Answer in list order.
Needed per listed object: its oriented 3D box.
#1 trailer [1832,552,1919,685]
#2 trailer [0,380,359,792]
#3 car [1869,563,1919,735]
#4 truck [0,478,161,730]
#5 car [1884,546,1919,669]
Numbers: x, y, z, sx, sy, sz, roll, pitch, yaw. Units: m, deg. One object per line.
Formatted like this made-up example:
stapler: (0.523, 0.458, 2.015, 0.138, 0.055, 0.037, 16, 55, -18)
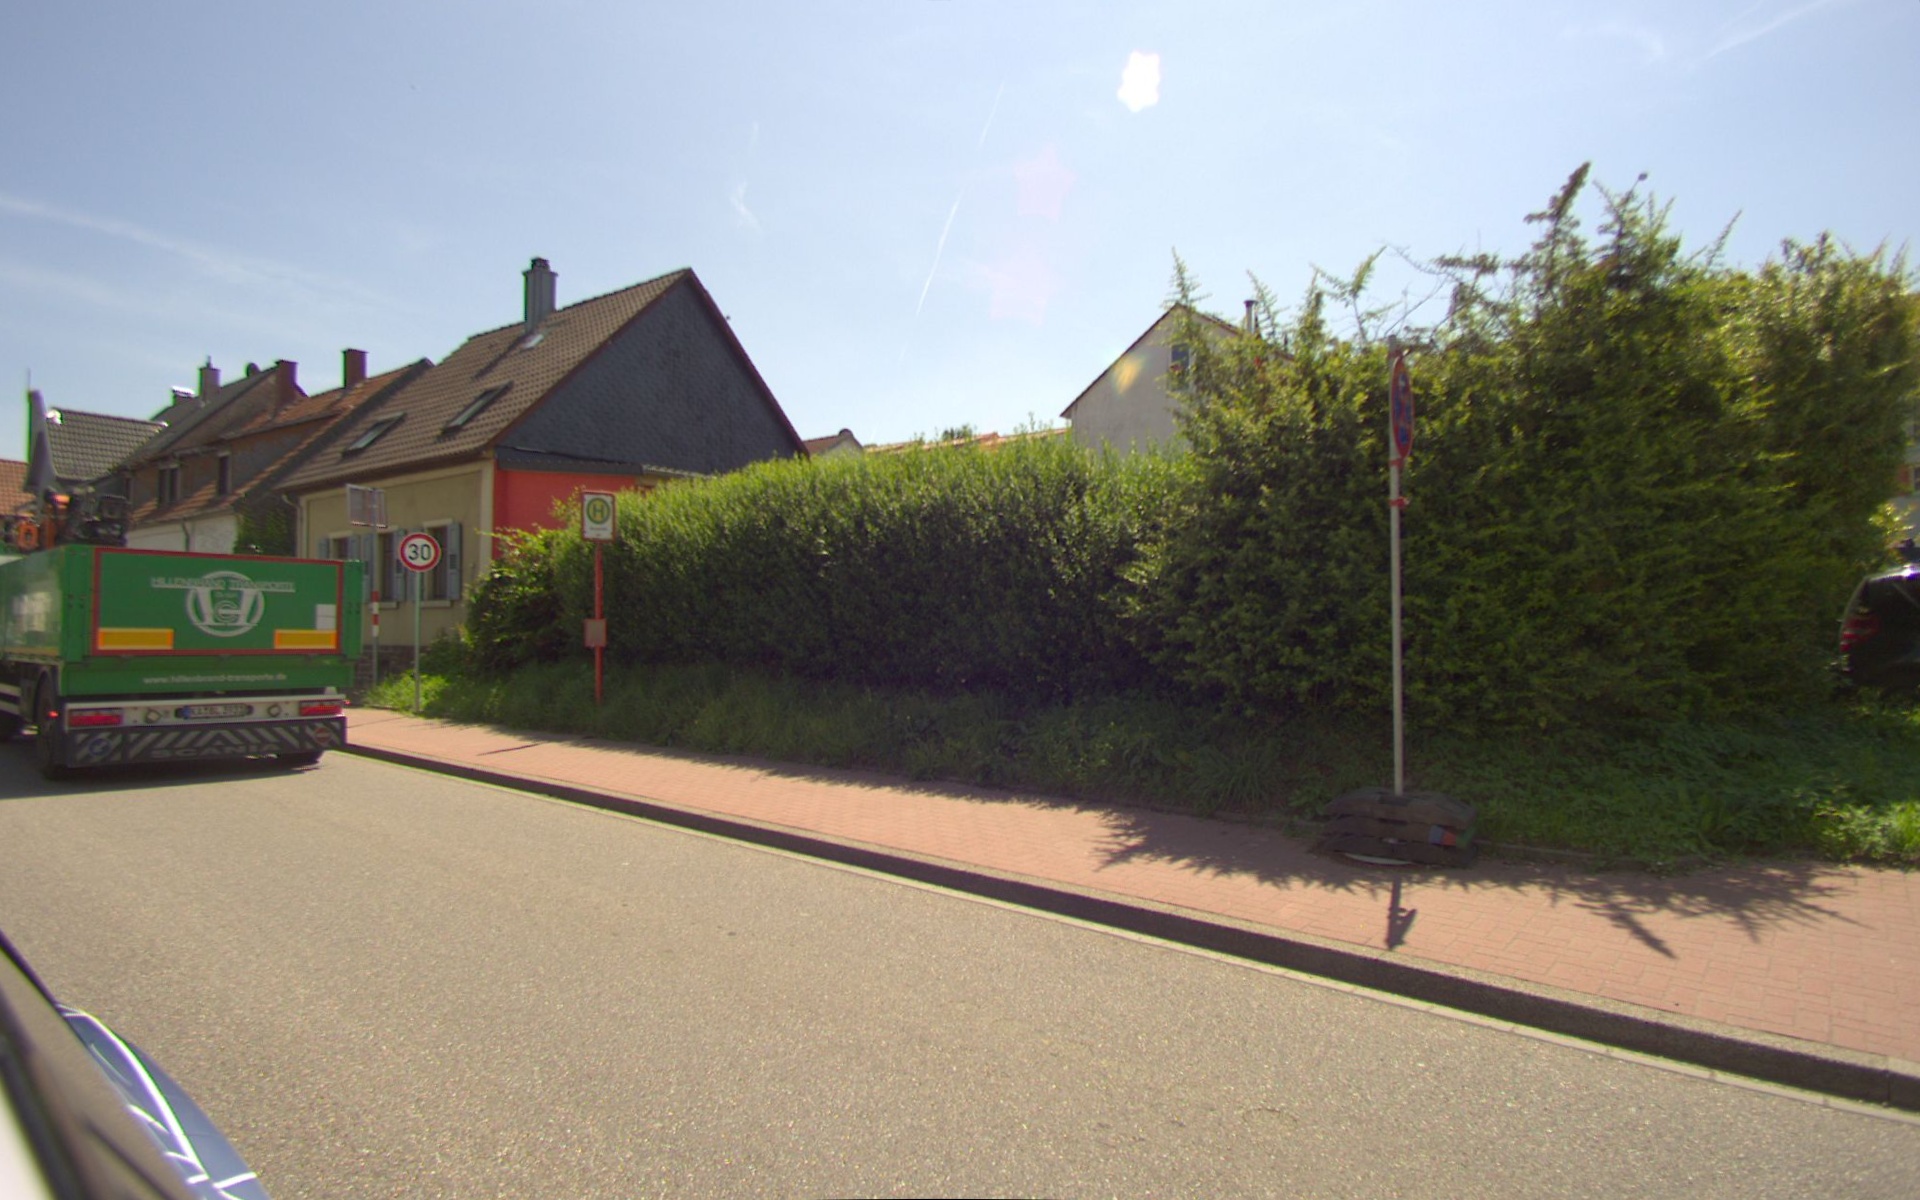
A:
trailer: (13.161, 0.206, 13.117, 2.688, 1.676, 1.413, -2, 2, 37)
trailer: (-10.569, -0.007, 12.720, 8.454, 3.677, 2.504, -2, -3, 40)
car: (10.310, 0.399, 8.694, 3.653, 1.552, 1.605, -1, 1, 44)
truck: (-17.732, 0.189, 18.623, 10.067, 3.729, 2.541, -2, -3, 39)
car: (15.481, 0.062, 14.268, 3.552, 1.794, 1.605, -1, 1, 44)
